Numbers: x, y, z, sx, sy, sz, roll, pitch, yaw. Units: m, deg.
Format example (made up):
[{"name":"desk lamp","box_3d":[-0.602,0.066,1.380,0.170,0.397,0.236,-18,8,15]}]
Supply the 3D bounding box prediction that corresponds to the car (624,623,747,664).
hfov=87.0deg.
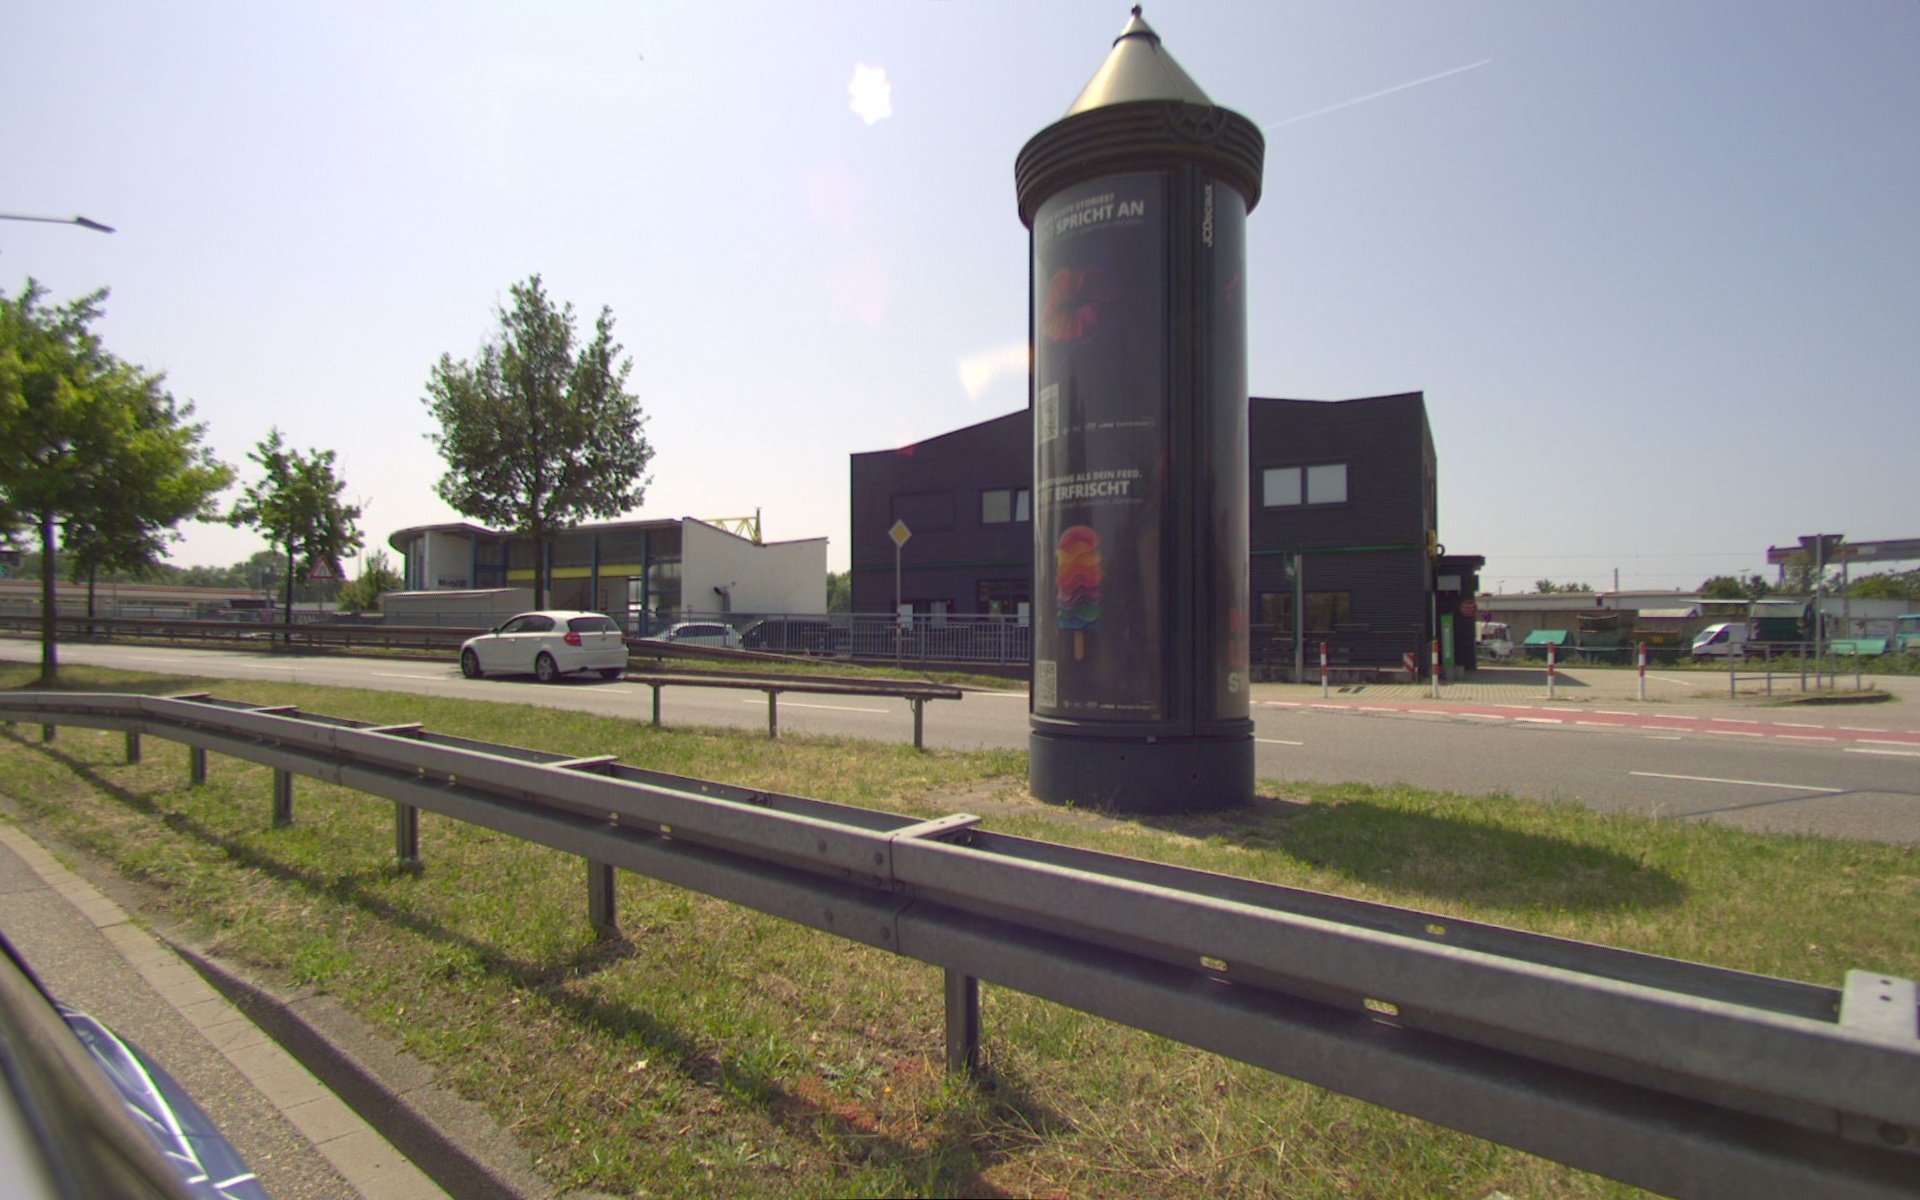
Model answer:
[{"name":"car","box_3d":[-9.832,1.527,36.303,3.931,1.390,1.664,1,-1,-30]}]

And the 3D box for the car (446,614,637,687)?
[{"name":"car","box_3d":[-8.830,0.993,21.251,4.204,1.390,1.641,-1,0,33]}]

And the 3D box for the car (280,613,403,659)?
[{"name":"car","box_3d":[-23.595,1.358,38.580,4.619,1.581,1.885,0,-3,29]}]

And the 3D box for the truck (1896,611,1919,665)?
[{"name":"truck","box_3d":[56.626,2.219,55.933,6.770,2.950,2.858,2,-3,5]}]

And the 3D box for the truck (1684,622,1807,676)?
[{"name":"truck","box_3d":[46.643,2.901,60.191,5.402,2.981,1.993,1,-3,11]}]
